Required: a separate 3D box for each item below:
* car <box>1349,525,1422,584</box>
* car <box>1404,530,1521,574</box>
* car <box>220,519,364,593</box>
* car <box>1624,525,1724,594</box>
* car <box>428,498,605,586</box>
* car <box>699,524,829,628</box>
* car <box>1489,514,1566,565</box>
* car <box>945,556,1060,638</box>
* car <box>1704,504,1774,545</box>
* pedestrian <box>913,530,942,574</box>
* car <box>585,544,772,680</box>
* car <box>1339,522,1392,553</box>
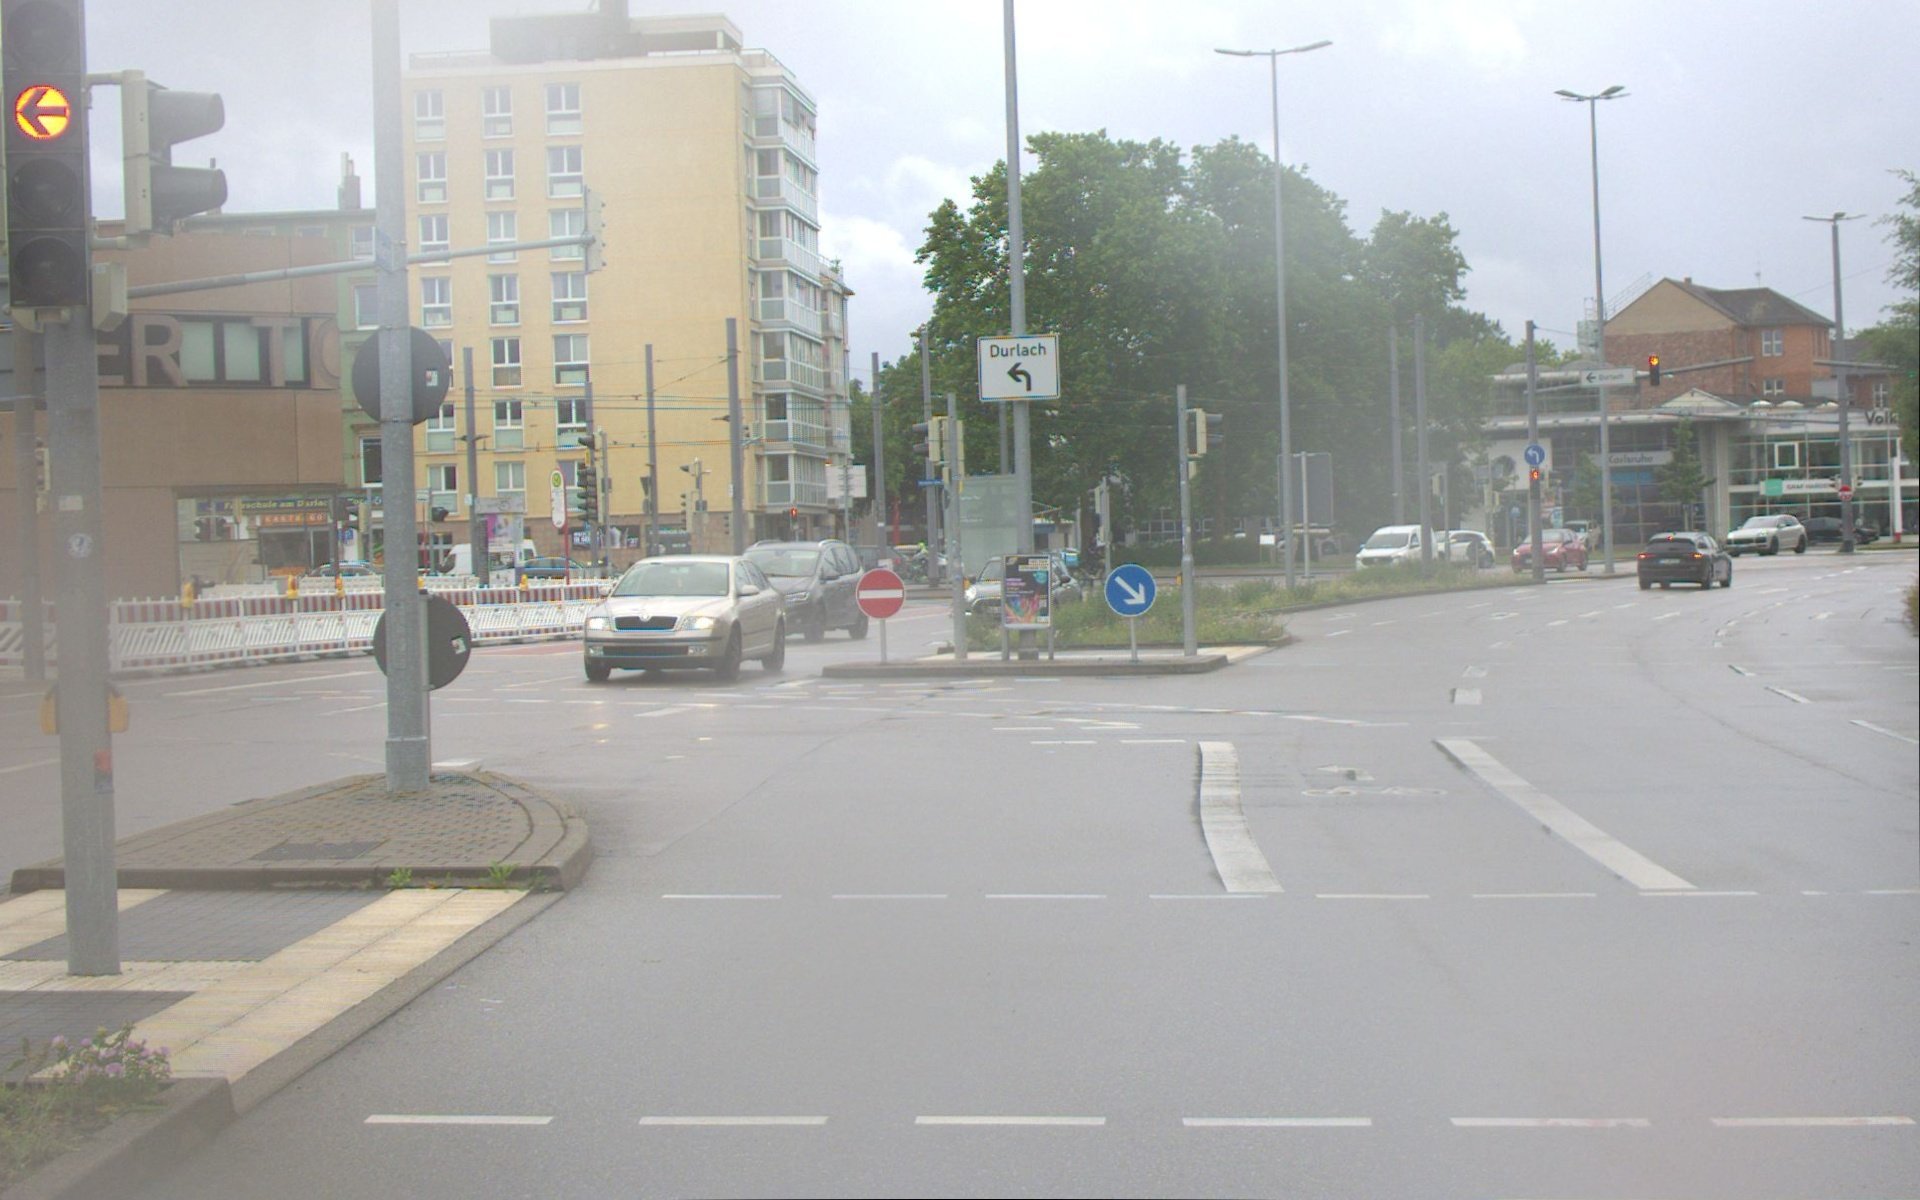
[{"bbox_3d":[14.120,-1.527,113.984,1.791,1.852,4.156,-1,1,15],"label":"car"},{"bbox_3d":[19.940,-1.907,136.437,4.382,1.637,1.796,-2,1,-29],"label":"car"},{"bbox_3d":[-27.605,-1.837,142.108,5.351,2.877,2.339,-2,1,2],"label":"car"},{"bbox_3d":[18.057,-1.036,86.826,1.792,1.637,4.155,-1,1,21],"label":"car"},{"bbox_3d":[-18.235,-2.401,141.465,6.742,3.368,2.809,-2,1,2],"label":"car"},{"bbox_3d":[-3.300,-0.444,58.537,1.772,1.673,4.769,-1,1,2],"label":"car"},{"bbox_3d":[19.441,-2.078,117.670,1.792,1.637,4.042,-1,1,21],"label":"car"},{"bbox_3d":[0.798,-0.072,62.489,1.772,1.371,4.120,-1,1,5],"label":"car"},{"bbox_3d":[32.681,-3.160,144.189,1.793,1.637,4.153,-1,1,28],"label":"car"},{"bbox_3d":[-1.358,-2.008,143.911,1.092,1.807,1.119,-2,1,-4],"label":"pedestrian"},{"bbox_3d":[-3.297,0.106,40.968,1.694,1.411,4.183,-2,2,2],"label":"car"},{"bbox_3d":[22.523,-3.466,190.802,1.792,1.637,4.154,-1,1,23],"label":"car"}]
